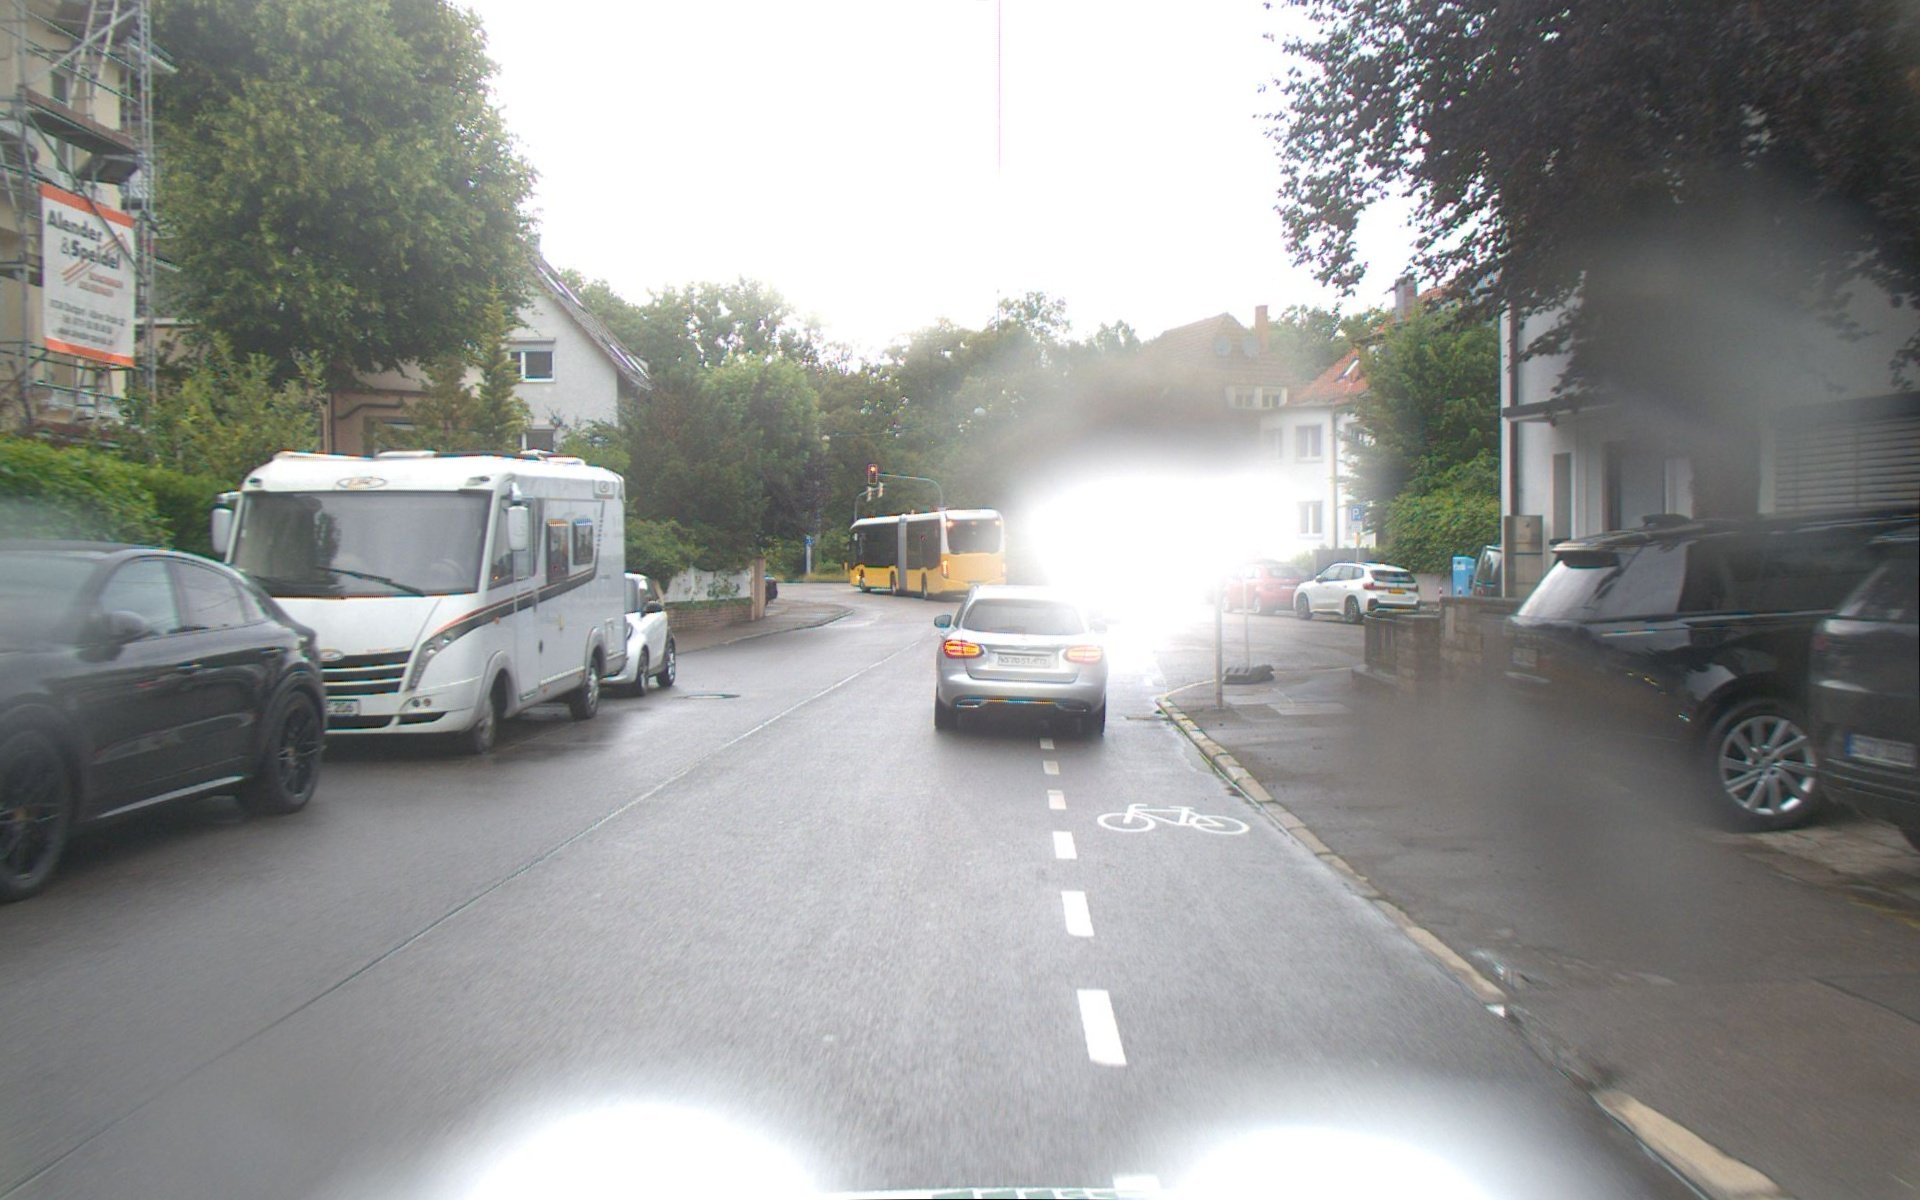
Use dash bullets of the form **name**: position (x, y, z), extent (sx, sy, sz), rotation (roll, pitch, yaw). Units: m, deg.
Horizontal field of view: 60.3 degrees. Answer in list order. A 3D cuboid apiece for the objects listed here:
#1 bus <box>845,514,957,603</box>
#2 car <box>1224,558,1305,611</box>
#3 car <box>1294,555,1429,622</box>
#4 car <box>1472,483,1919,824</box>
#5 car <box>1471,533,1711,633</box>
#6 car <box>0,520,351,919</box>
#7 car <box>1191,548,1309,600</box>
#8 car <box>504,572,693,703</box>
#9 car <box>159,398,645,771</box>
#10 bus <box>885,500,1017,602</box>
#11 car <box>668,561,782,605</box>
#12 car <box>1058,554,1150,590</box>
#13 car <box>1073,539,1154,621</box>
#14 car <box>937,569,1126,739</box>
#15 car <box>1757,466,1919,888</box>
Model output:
- **bus**: position (-2.867, -1.997, 75.362), extent (2.880, 3.714, 10.264), rotation (1, 3, -15)
- **car**: position (9.290, -0.501, 50.650), extent (1.186, 1.476, 3.009), rotation (1, 3, -17)
- **car**: position (10.995, -0.352, 45.557), extent (1.778, 1.636, 4.046), rotation (1, 3, -17)
- **car**: position (5.951, 0.239, 10.739), extent (4.568, 1.907, 1.999), rotation (-3, 1, -2)
- **car**: position (10.605, -0.318, 28.025), extent (3.512, 1.535, 1.733), rotation (2, 2, 11)
- **car**: position (-5.113, 0.452, 8.708), extent (1.952, 1.717, 4.679), rotation (1, 2, 2)
- **car**: position (10.734, -0.978, 61.349), extent (3.912, 1.824, 1.756), rotation (1, 2, -9)
- **car**: position (-4.669, 0.430, 21.779), extent (1.677, 1.472, 3.256), rotation (1, 2, 2)
- **car**: position (-4.931, -0.227, 16.008), extent (2.341, 2.820, 6.534), rotation (1, 2, 1)
- **bus**: position (-0.533, -2.056, 66.390), extent (2.879, 3.714, 10.132), rotation (1, 3, -14)
- **car**: position (-8.331, -0.614, 58.723), extent (3.912, 1.444, 1.884), rotation (1, 2, -8)
- **car**: position (6.742, -1.315, 77.347), extent (3.923, 1.557, 1.751), rotation (1, 2, -17)
- **car**: position (3.796, -0.481, 41.507), extent (1.804, 1.937, 4.001), rotation (1, 0, 2)
- **car**: position (0.723, 0.489, 17.849), extent (1.779, 1.583, 4.001), rotation (1, 1, 1)
- **car**: position (6.445, 0.234, 7.599), extent (4.568, 1.844, 1.999), rotation (-3, 1, -2)
